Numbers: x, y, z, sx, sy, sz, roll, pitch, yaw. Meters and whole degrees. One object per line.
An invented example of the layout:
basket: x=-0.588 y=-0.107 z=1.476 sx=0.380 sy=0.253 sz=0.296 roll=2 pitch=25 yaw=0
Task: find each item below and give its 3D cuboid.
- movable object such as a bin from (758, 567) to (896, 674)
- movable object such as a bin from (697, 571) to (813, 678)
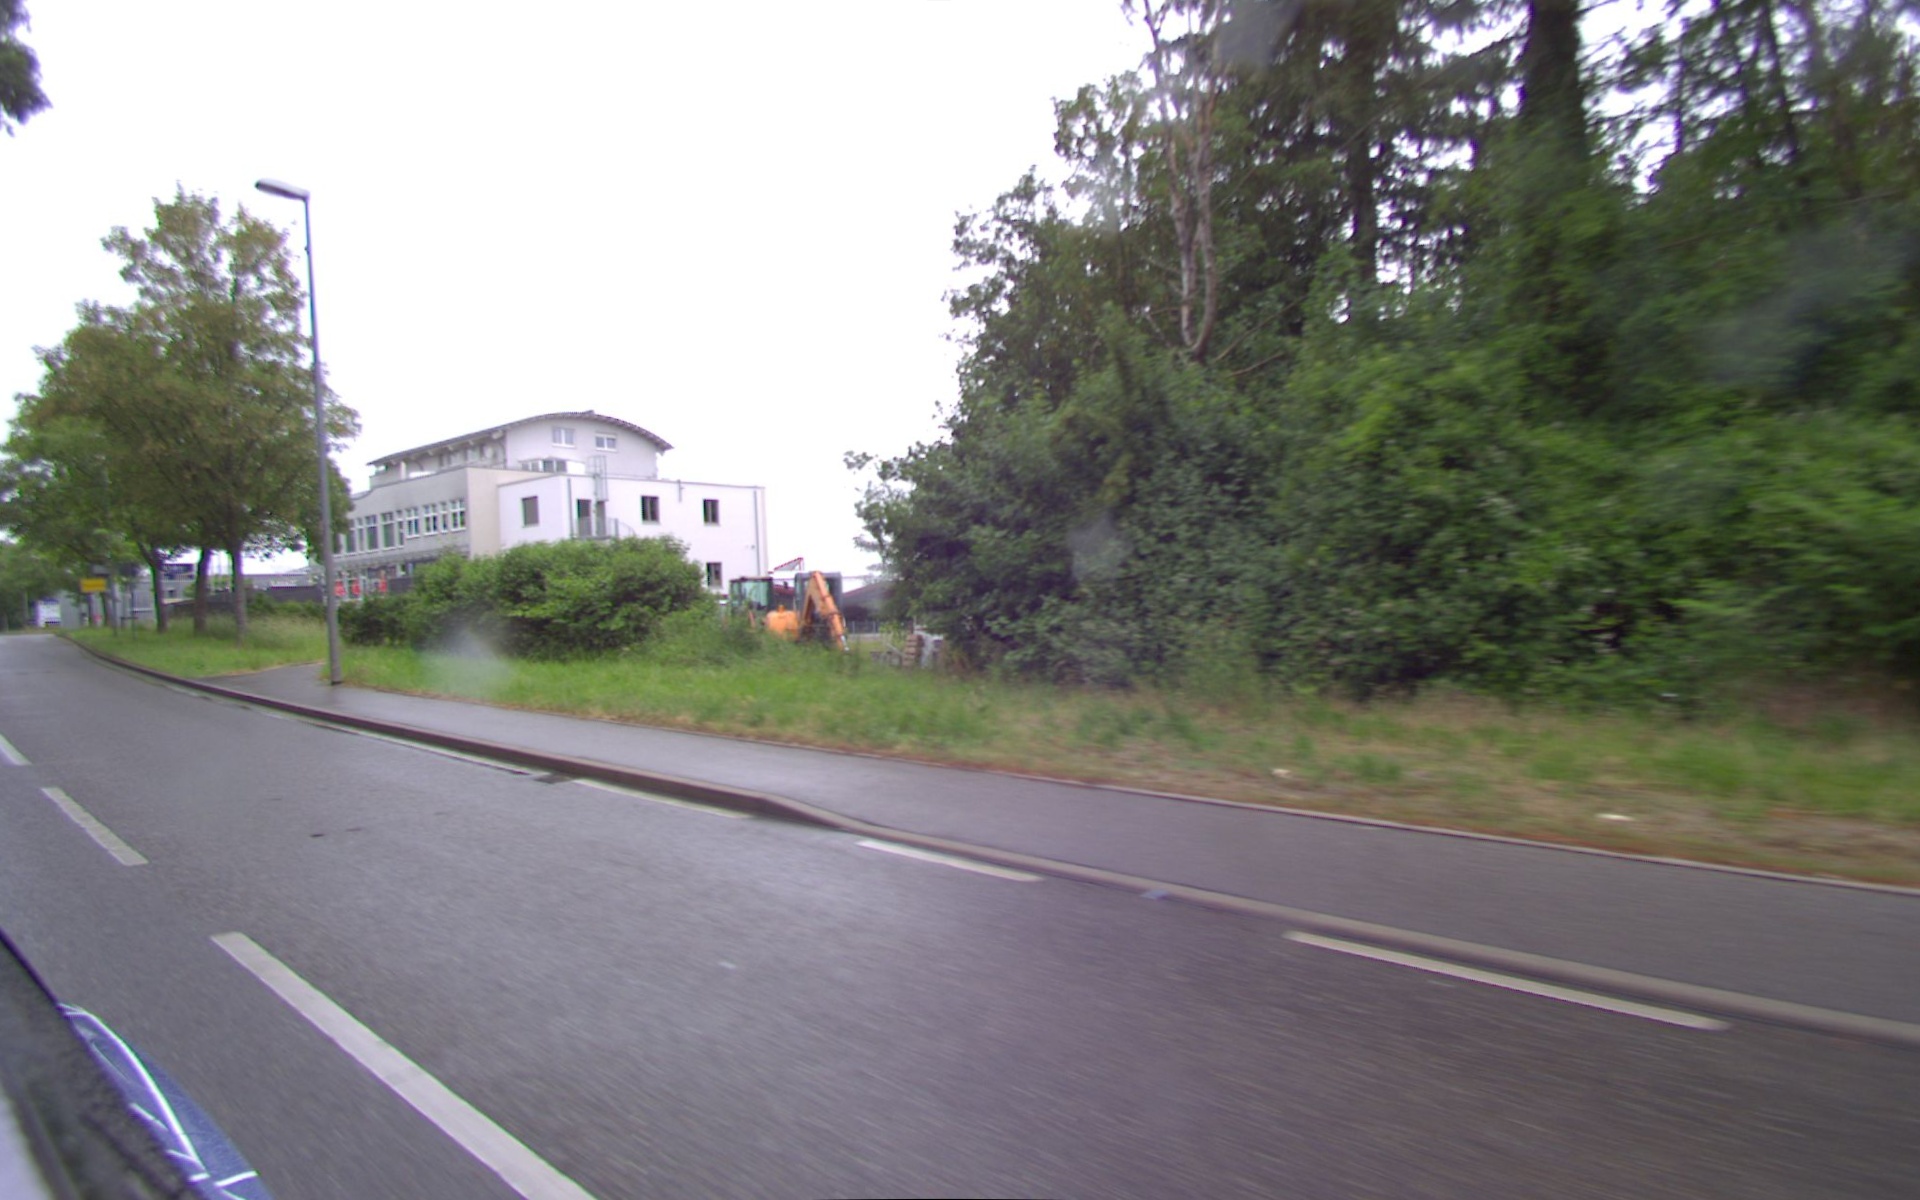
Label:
movable object such as a bin: x=-3.194 y=0.415 z=22.460 sx=1.821 sy=1.922 sz=7.931 roll=-1 pitch=-1 yaw=-16
movable object such as a bin: x=-6.060 y=0.659 z=29.581 sx=1.966 sy=2.882 sz=4.011 roll=-2 pitch=0 yaw=-32
